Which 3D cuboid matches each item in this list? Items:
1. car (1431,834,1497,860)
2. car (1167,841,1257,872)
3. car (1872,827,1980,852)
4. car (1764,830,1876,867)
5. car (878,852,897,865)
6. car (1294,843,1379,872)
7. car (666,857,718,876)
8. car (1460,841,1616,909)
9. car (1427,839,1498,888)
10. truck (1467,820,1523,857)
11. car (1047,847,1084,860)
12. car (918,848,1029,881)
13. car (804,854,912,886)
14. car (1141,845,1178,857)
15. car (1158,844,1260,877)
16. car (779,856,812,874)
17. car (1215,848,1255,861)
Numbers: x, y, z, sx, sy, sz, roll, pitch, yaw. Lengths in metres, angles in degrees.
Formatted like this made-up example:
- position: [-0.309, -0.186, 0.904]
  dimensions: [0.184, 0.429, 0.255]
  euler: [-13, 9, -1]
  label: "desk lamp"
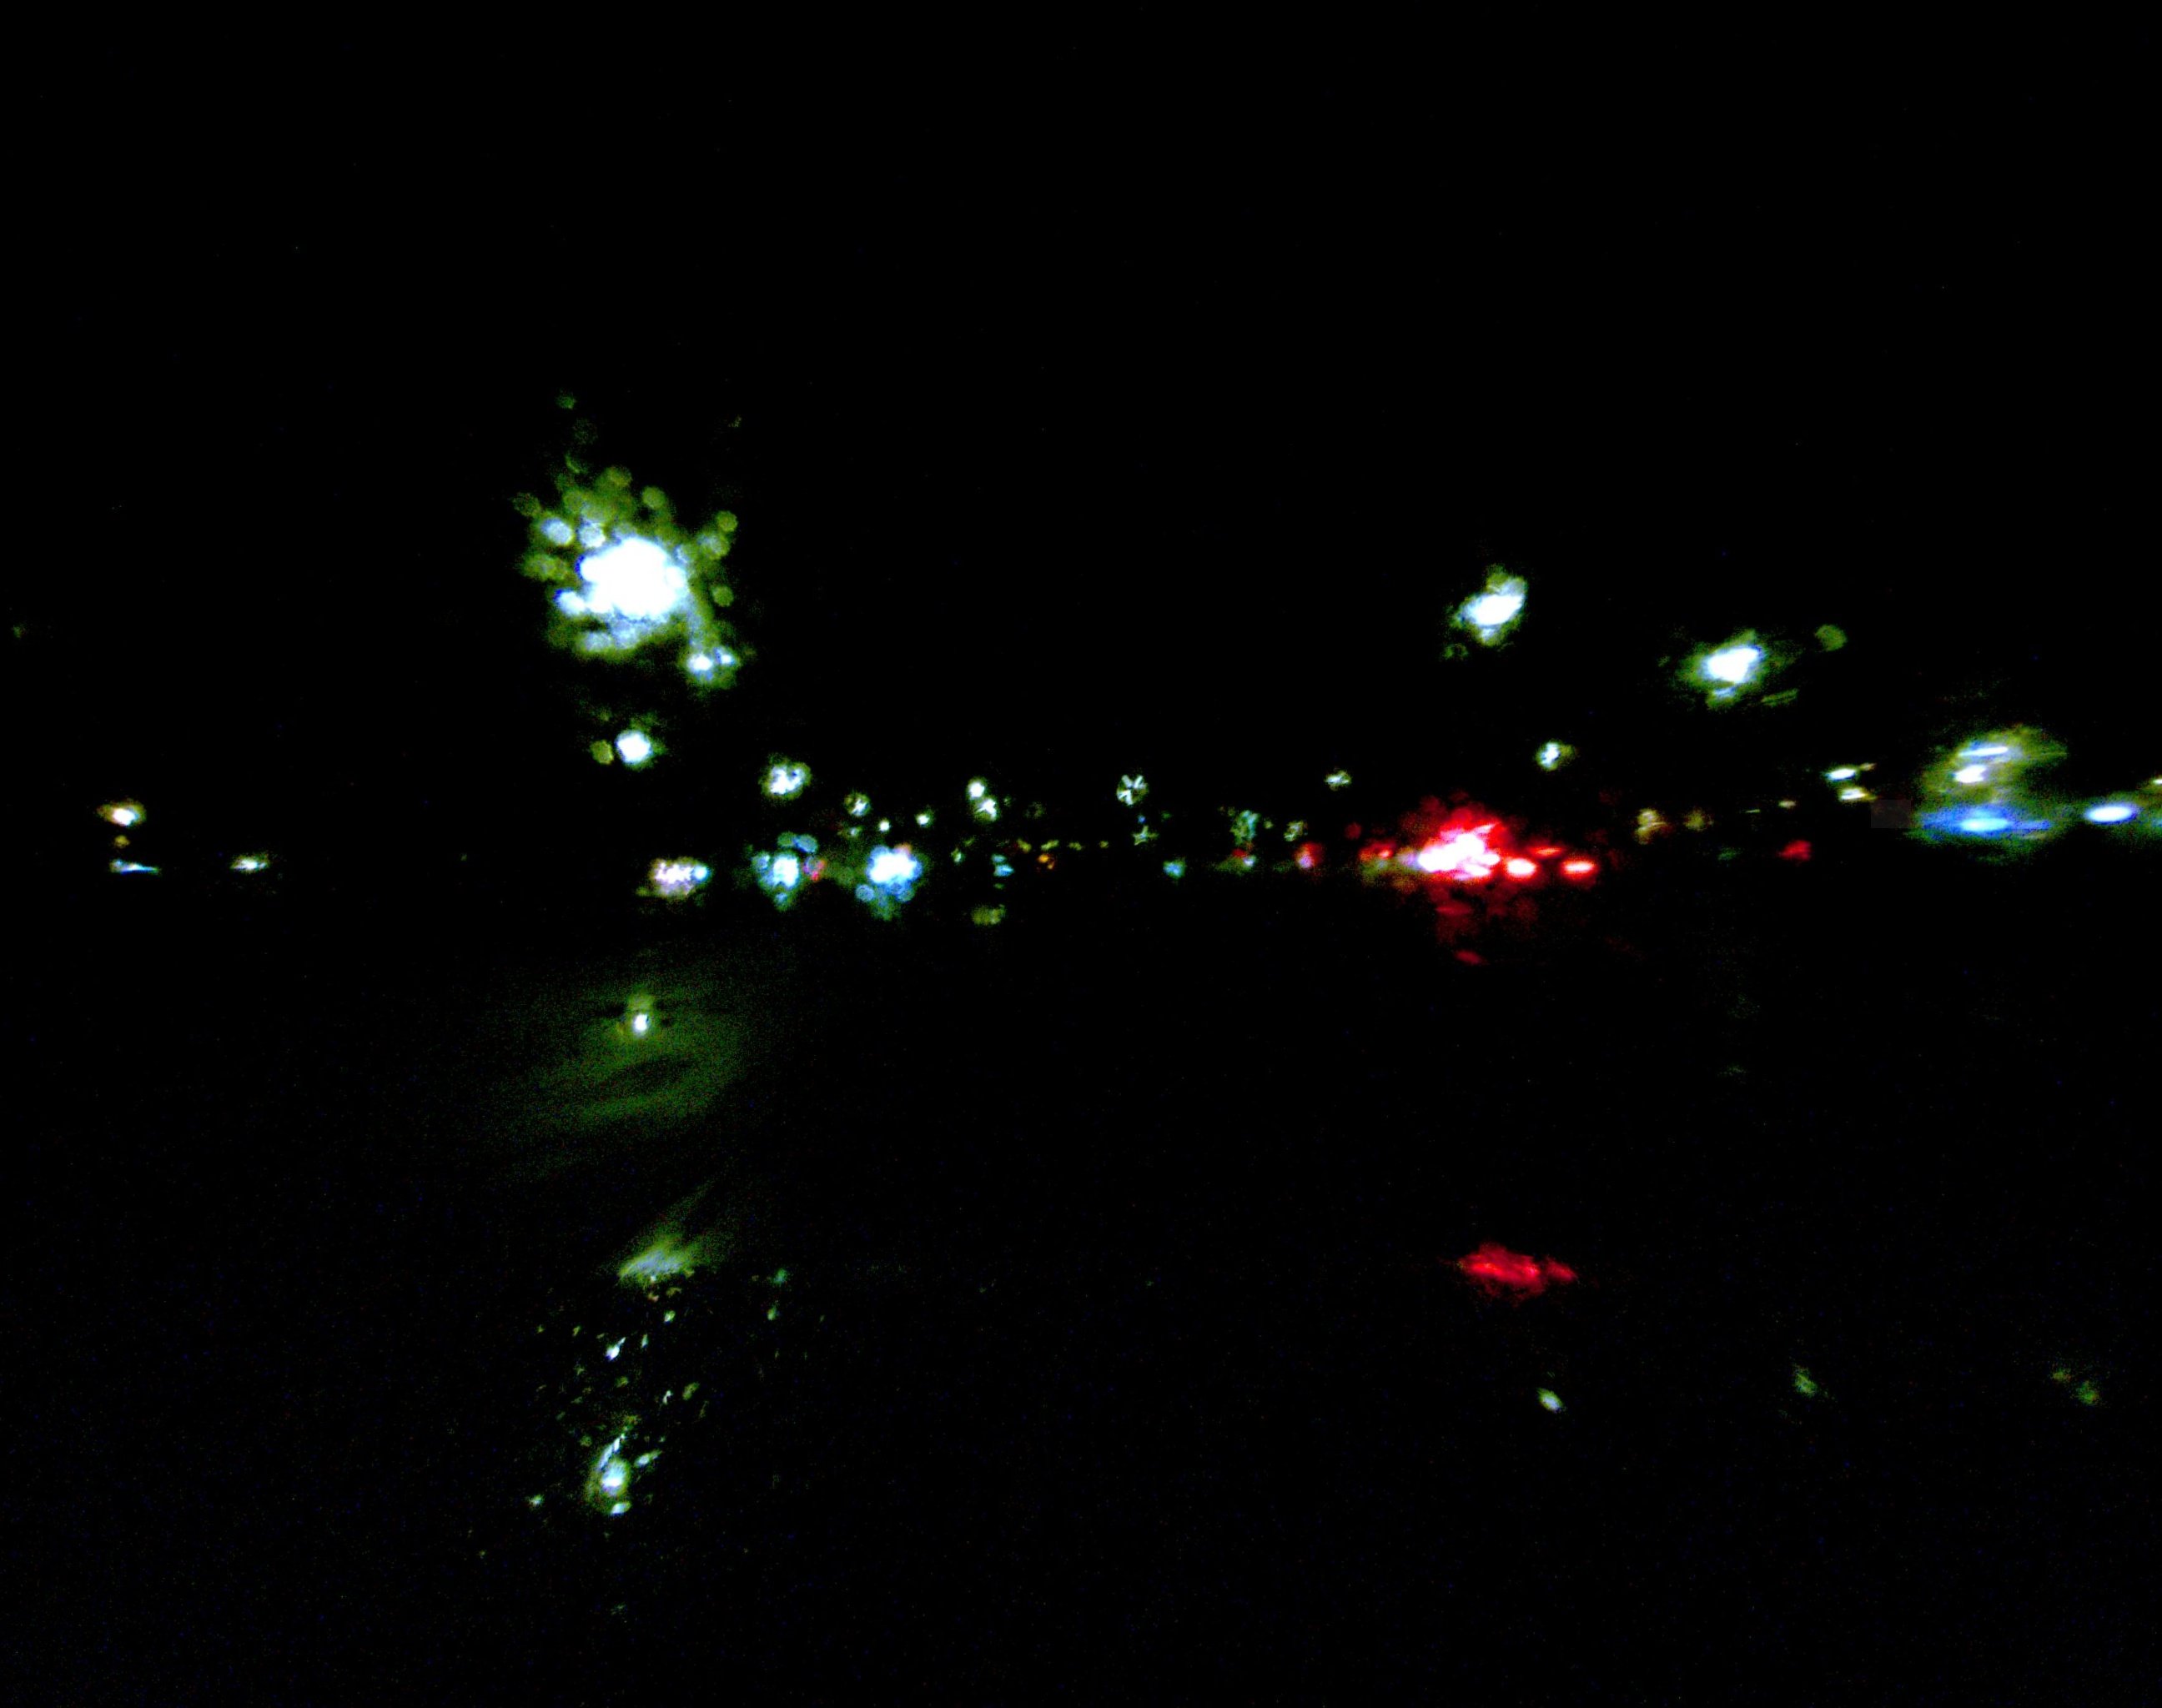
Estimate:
- position: [23.772, -0.467, 47.094]
  dimensions: [4.193, 1.524, 1.994]
  euler: [-1, 1, -37]
  label: "car"
- position: [7.020, 0.103, 41.018]
  dimensions: [4.429, 1.612, 1.999]
  euler: [0, 1, -2]
  label: "car"
- position: [56.733, -0.979, 51.132]
  dimensions: [4.420, 1.612, 2.003]
  euler: [0, 1, 27]
  label: "car"
- position: [37.132, -0.280, 38.230]
  dimensions: [3.999, 1.765, 1.998]
  euler: [-1, 1, -7]
  label: "car"
- position: [-27.228, 0.643, 107.027]
  dimensions: [2.000, 1.744, 3.996]
  euler: [-1, 1, -8]
  label: "car"
- position: [14.343, 0.168, 42.730]
  dimensions: [4.189, 1.524, 1.996]
  euler: [-1, 1, -19]
  label: "car"
- position: [-32.144, 1.009, 62.906]
  dimensions: [1.766, 1.444, 4.002]
  euler: [-1, 1, 10]
  label: "car"
- position: [11.600, 0.448, 19.672]
  dimensions: [1.997, 1.447, 4.306]
  euler: [3, 2, 10]
  label: "car"
- position: [13.654, 0.263, 27.069]
  dimensions: [2.064, 1.612, 4.641]
  euler: [0, 1, 28]
  label: "car"
- position: [28.899, -1.094, 52.893]
  dimensions: [2.316, 2.383, 7.828]
  euler: [1, 1, 37]
  label: "truck"
- position: [-1.884, -0.037, 90.605]
  dimensions: [4.185, 1.457, 1.998]
  euler: [-1, 1, -7]
  label: "car"
- position: [-5.479, 0.512, 38.741]
  dimensions: [5.186, 1.573, 2.003]
  euler: [-1, 1, 20]
  label: "car"
- position: [-10.908, 0.790, 37.144]
  dimensions: [5.085, 1.457, 2.003]
  euler: [-1, 1, 28]
  label: "car"
- position: [9.893, -0.333, 95.418]
  dimensions: [4.174, 1.457, 2.004]
  euler: [-1, 1, 34]
  label: "car"
- position: [6.114, 0.317, 36.614]
  dimensions: [4.637, 1.457, 1.647]
  euler: [-1, 1, -2]
  label: "car"
- position: [-27.769, 1.050, 74.056]
  dimensions: [1.999, 1.662, 4.183]
  euler: [-1, 1, -6]
  label: "car"
- position: [18.338, 0.061, 90.506]
  dimensions: [4.173, 1.457, 2.004]
  euler: [-1, 1, 40]
  label: "car"
